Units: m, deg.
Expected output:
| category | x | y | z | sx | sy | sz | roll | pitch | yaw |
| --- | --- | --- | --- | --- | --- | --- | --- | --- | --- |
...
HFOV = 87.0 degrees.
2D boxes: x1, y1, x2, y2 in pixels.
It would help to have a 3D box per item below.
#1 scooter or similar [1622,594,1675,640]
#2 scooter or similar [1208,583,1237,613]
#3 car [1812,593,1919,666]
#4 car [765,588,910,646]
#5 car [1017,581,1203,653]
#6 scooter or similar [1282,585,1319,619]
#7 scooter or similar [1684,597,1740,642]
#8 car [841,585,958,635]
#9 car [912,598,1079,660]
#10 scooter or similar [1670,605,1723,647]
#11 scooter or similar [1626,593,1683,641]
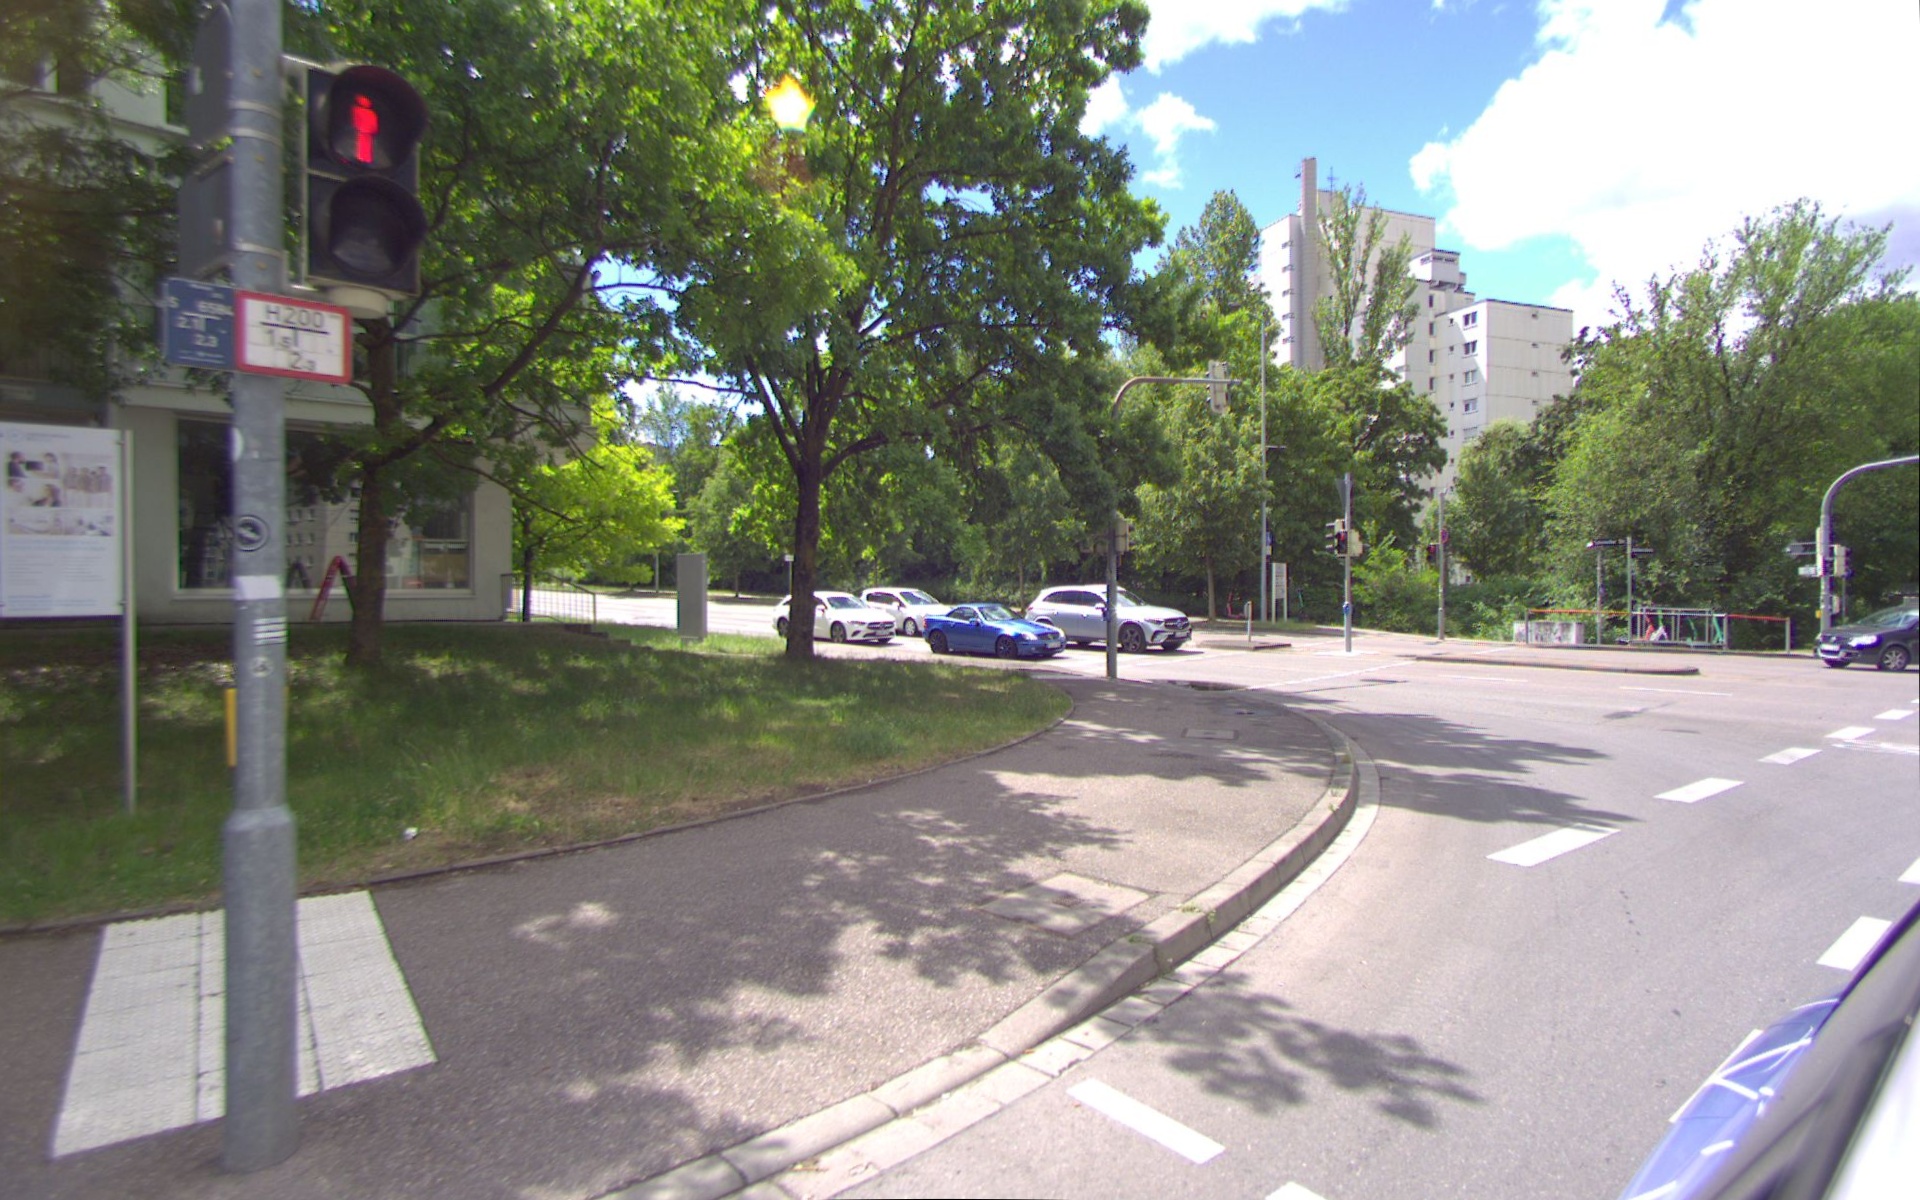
| category | x | y | z | sx | sy | sz | roll | pitch | yaw |
| --- | --- | --- | --- | --- | --- | --- | --- | --- | --- |
| scooter or similar | 19.633 | 0.484 | 28.883 | 1.181 | 1.250 | 0.472 | 2 | 0 | 42 |
| scooter or similar | 10.107 | -0.082 | 38.994 | 0.402 | 1.087 | 1.116 | 1 | 0 | -32 |
| car | 21.806 | 0.677 | 22.688 | 3.736 | 1.557 | 1.676 | 2 | 0 | 13 |
| car | -3.646 | 0.440 | 29.635 | 4.391 | 1.432 | 1.921 | 2 | 3 | 45 |
| car | 3.809 | 0.366 | 26.326 | 1.892 | 1.611 | 4.646 | -2 | 3 | -43 |
| scooter or similar | 12.347 | 0.082 | 36.741 | 0.513 | 1.197 | 1.176 | 1 | 0 | -32 |
| scooter or similar | 21.046 | 0.549 | 28.334 | 0.440 | 1.210 | 1.172 | 1 | 0 | -32 |
| car | -2.003 | 0.278 | 32.620 | 3.887 | 1.430 | 1.583 | 2 | 3 | 45 |
| car | 0.819 | 0.662 | 25.032 | 1.882 | 1.240 | 3.963 | -3 | 3 | -43 |
| scooter or similar | 23.476 | 0.836 | 32.268 | 1.195 | 1.310 | 0.531 | -2 | -5 | 20 |
| scooter or similar | 19.132 | 0.462 | 27.897 | 1.199 | 1.250 | 0.475 | 2 | 0 | 26 |
